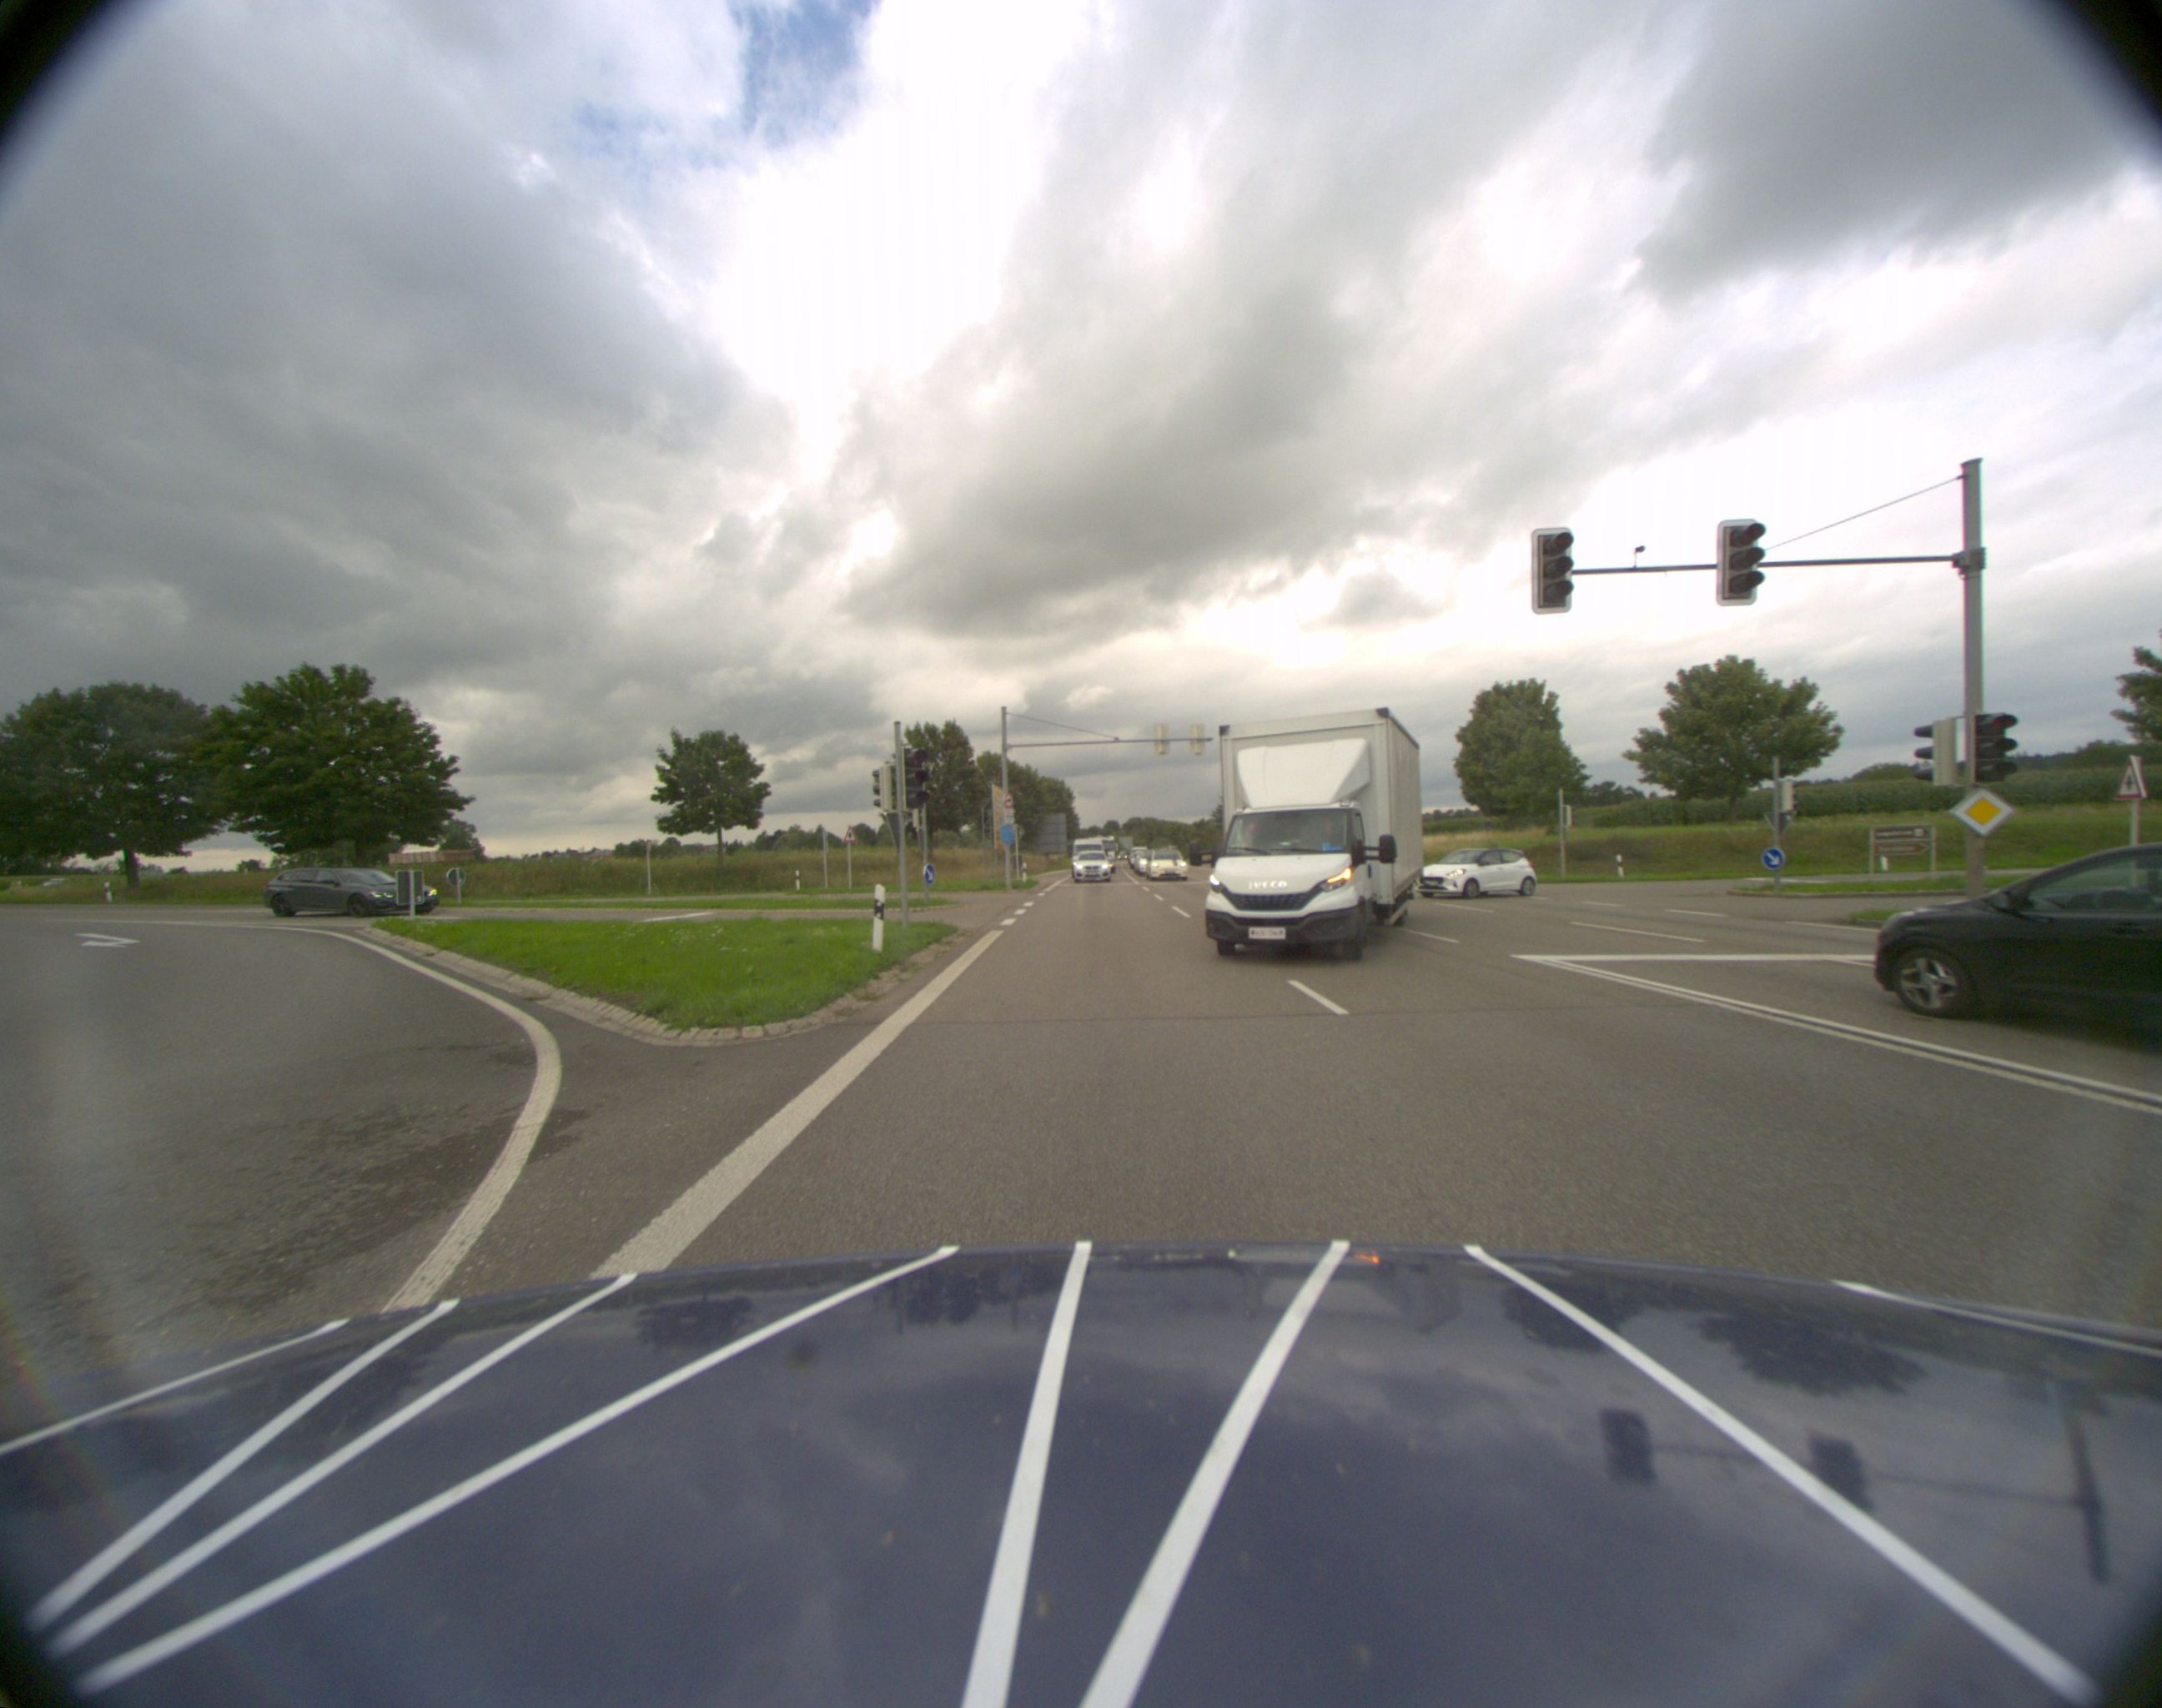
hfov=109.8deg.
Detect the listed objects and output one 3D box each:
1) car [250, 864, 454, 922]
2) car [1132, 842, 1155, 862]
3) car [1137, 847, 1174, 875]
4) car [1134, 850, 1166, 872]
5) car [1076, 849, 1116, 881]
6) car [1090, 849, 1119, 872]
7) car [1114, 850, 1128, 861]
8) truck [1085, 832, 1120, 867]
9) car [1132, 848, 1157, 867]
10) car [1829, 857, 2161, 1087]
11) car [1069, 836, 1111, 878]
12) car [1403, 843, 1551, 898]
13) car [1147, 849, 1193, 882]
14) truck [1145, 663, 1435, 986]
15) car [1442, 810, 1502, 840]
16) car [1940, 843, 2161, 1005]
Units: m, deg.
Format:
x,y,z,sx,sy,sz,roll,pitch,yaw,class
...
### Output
x,y,z,sx,sy,sz,roll,pitch,yaw,class
-21.192,1.118,22.153,4.659,1.494,2.002,-1,1,13,car
6.401,-0.203,78.451,2.168,2.002,4.680,-1,0,3,car
4.714,0.398,48.513,1.998,1.620,4.323,-3,0,2,car
4.945,0.456,54.973,1.998,1.446,4.581,-1,0,1,car
0.778,0.546,40.538,1.998,1.619,4.274,-1,1,1,car
1.780,0.464,57.541,1.998,1.619,4.275,-3,0,2,car
7.688,0.252,145.981,2.169,2.002,4.061,-1,0,-2,car
2.030,-0.456,72.380,3.106,3.091,7.407,-1,0,2,truck
5.731,0.293,69.104,1.998,1.583,4.447,-1,0,1,car
7.828,0.770,5.144,1.730,1.435,3.944,-1,0,2,car
0.655,0.140,48.857,2.396,2.427,5.513,-3,0,2,car
11.968,0.470,22.970,4.004,1.444,1.807,-2,1,-23,car
4.712,0.551,40.835,1.998,1.555,4.748,-3,0,1,car
4.285,-0.396,13.336,2.831,3.742,8.815,0,1,29,truck
28.913,-2.101,56.315,1.999,2.002,3.998,-4,0,-6,car
11.463,0.679,6.652,2.050,1.526,5.125,-1,0,-1,car
